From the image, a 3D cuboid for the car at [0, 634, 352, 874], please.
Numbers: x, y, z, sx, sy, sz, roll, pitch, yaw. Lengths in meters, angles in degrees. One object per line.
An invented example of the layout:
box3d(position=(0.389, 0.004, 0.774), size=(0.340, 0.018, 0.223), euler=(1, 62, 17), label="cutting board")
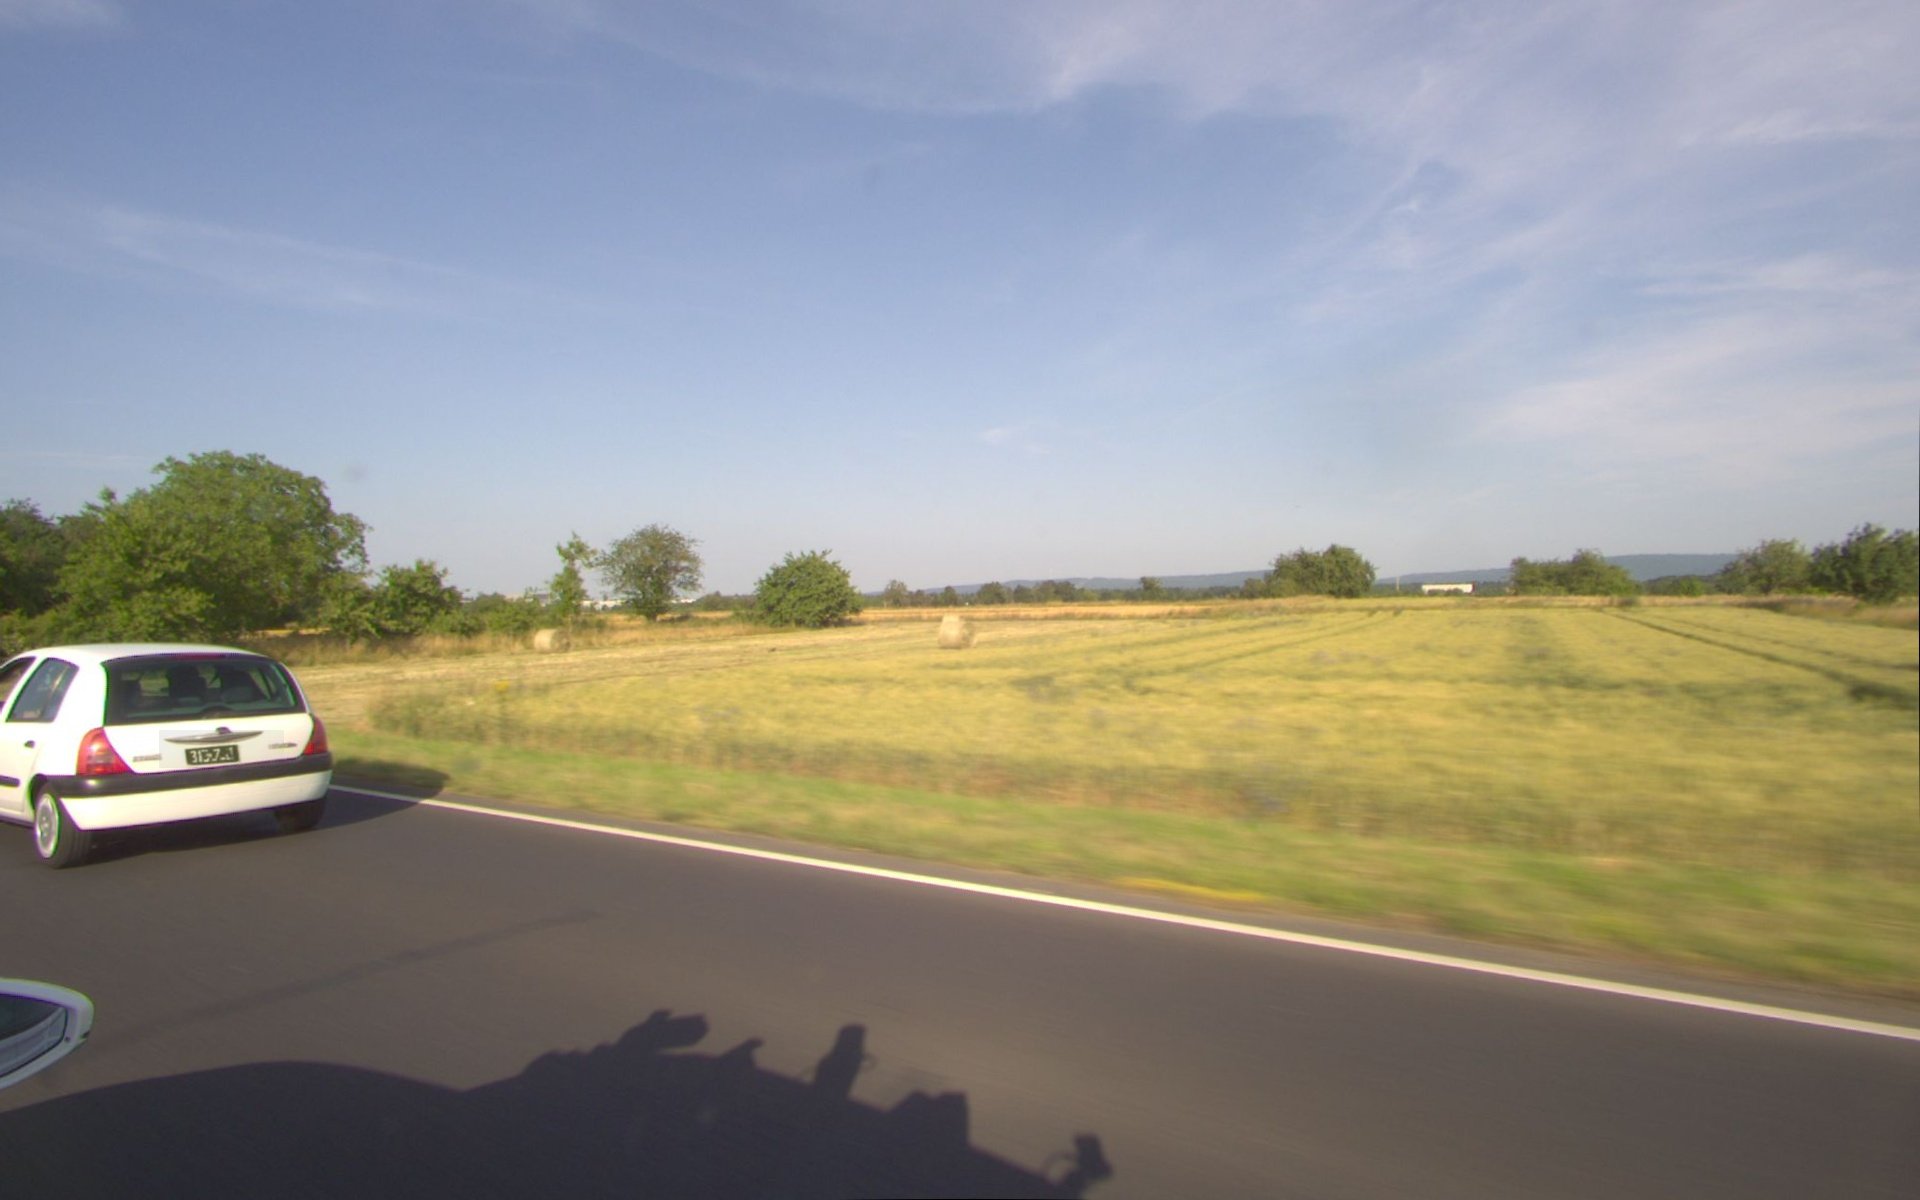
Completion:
box3d(position=(-6.461, 0.986, 7.605), size=(3.896, 1.405, 1.614), euler=(-2, -2, 33), label="car")
